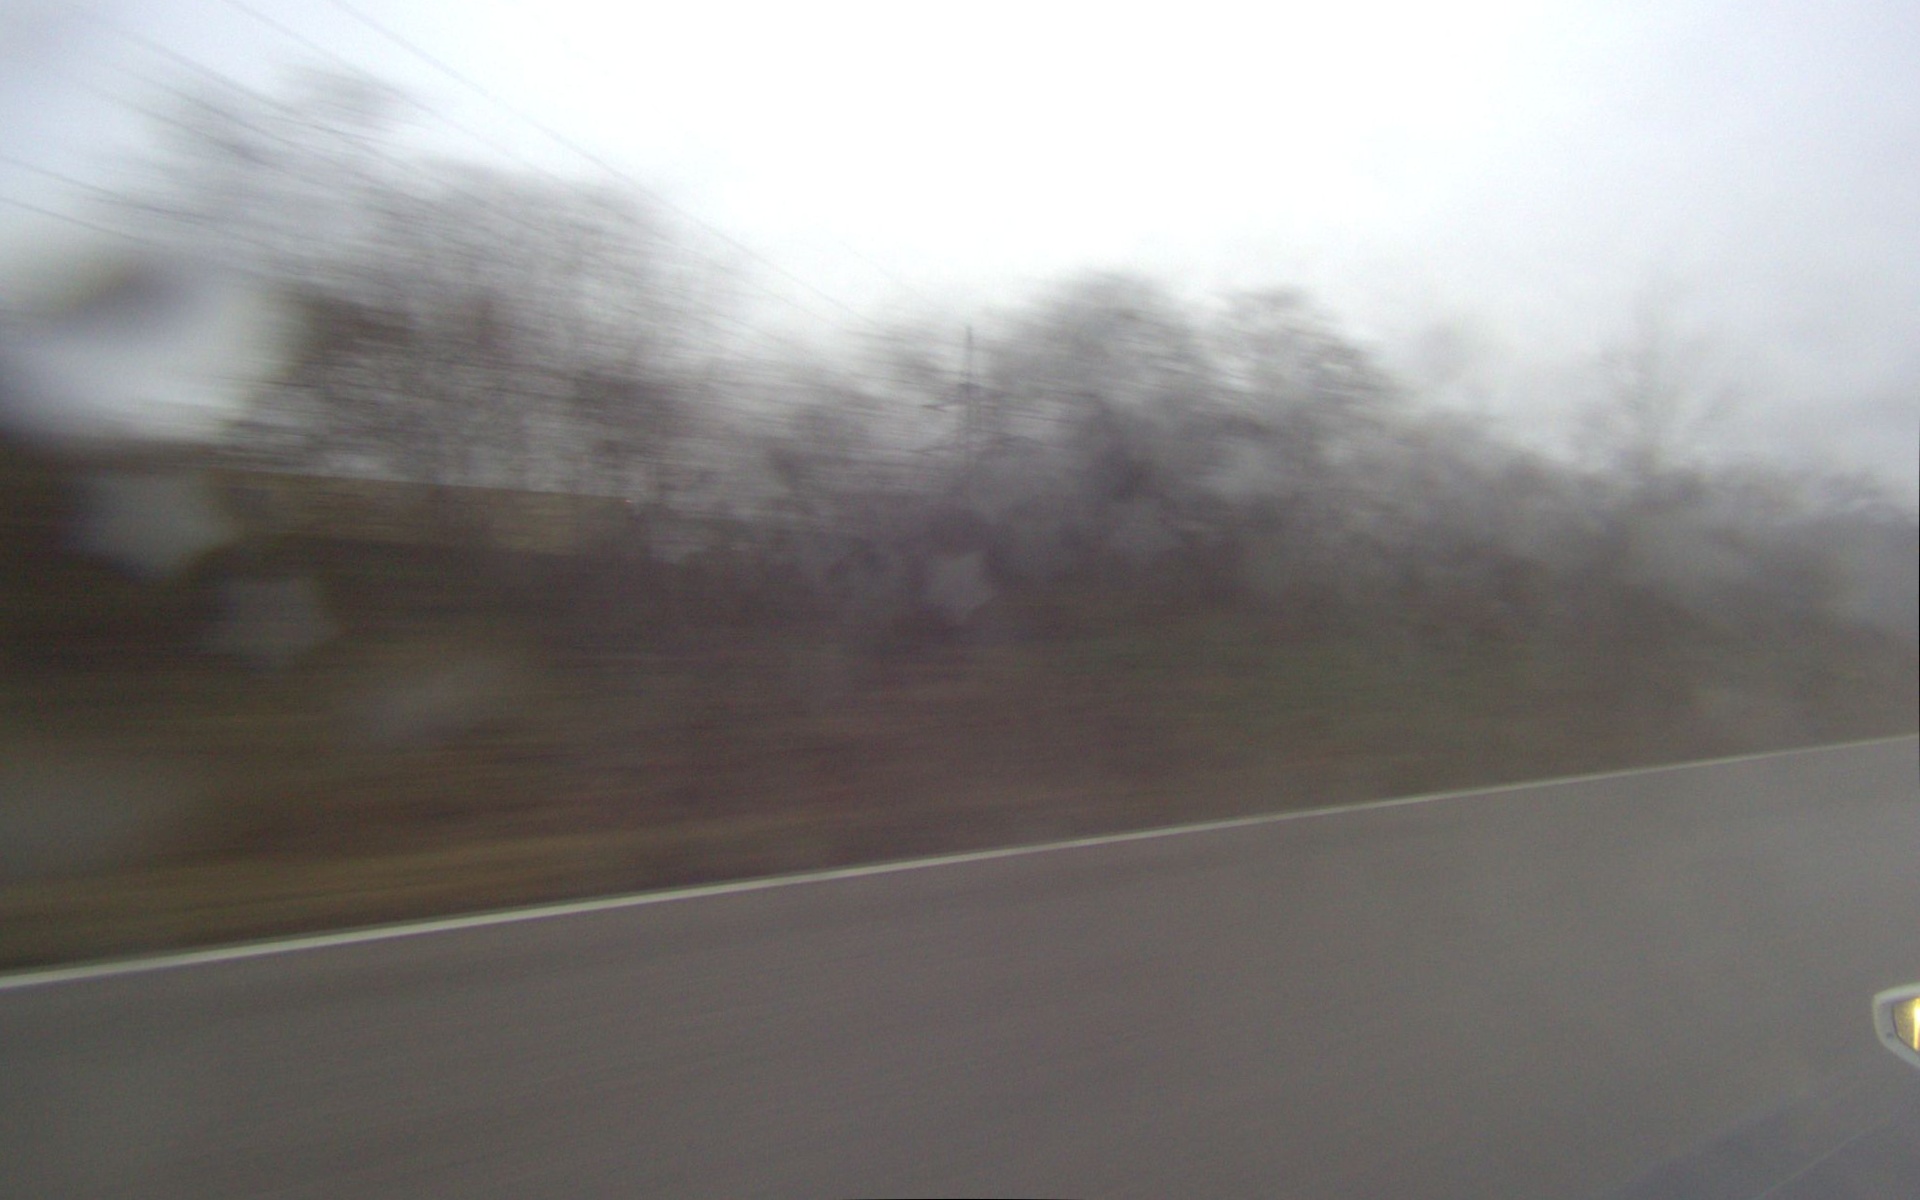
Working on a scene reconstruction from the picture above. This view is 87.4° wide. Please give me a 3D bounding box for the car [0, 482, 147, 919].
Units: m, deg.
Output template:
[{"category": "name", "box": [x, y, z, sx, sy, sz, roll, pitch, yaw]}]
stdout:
[{"category": "car", "box": [-6.058, 0.353, 4.082, 3.952, 1.808, 1.984, 2, 0, -30]}]
